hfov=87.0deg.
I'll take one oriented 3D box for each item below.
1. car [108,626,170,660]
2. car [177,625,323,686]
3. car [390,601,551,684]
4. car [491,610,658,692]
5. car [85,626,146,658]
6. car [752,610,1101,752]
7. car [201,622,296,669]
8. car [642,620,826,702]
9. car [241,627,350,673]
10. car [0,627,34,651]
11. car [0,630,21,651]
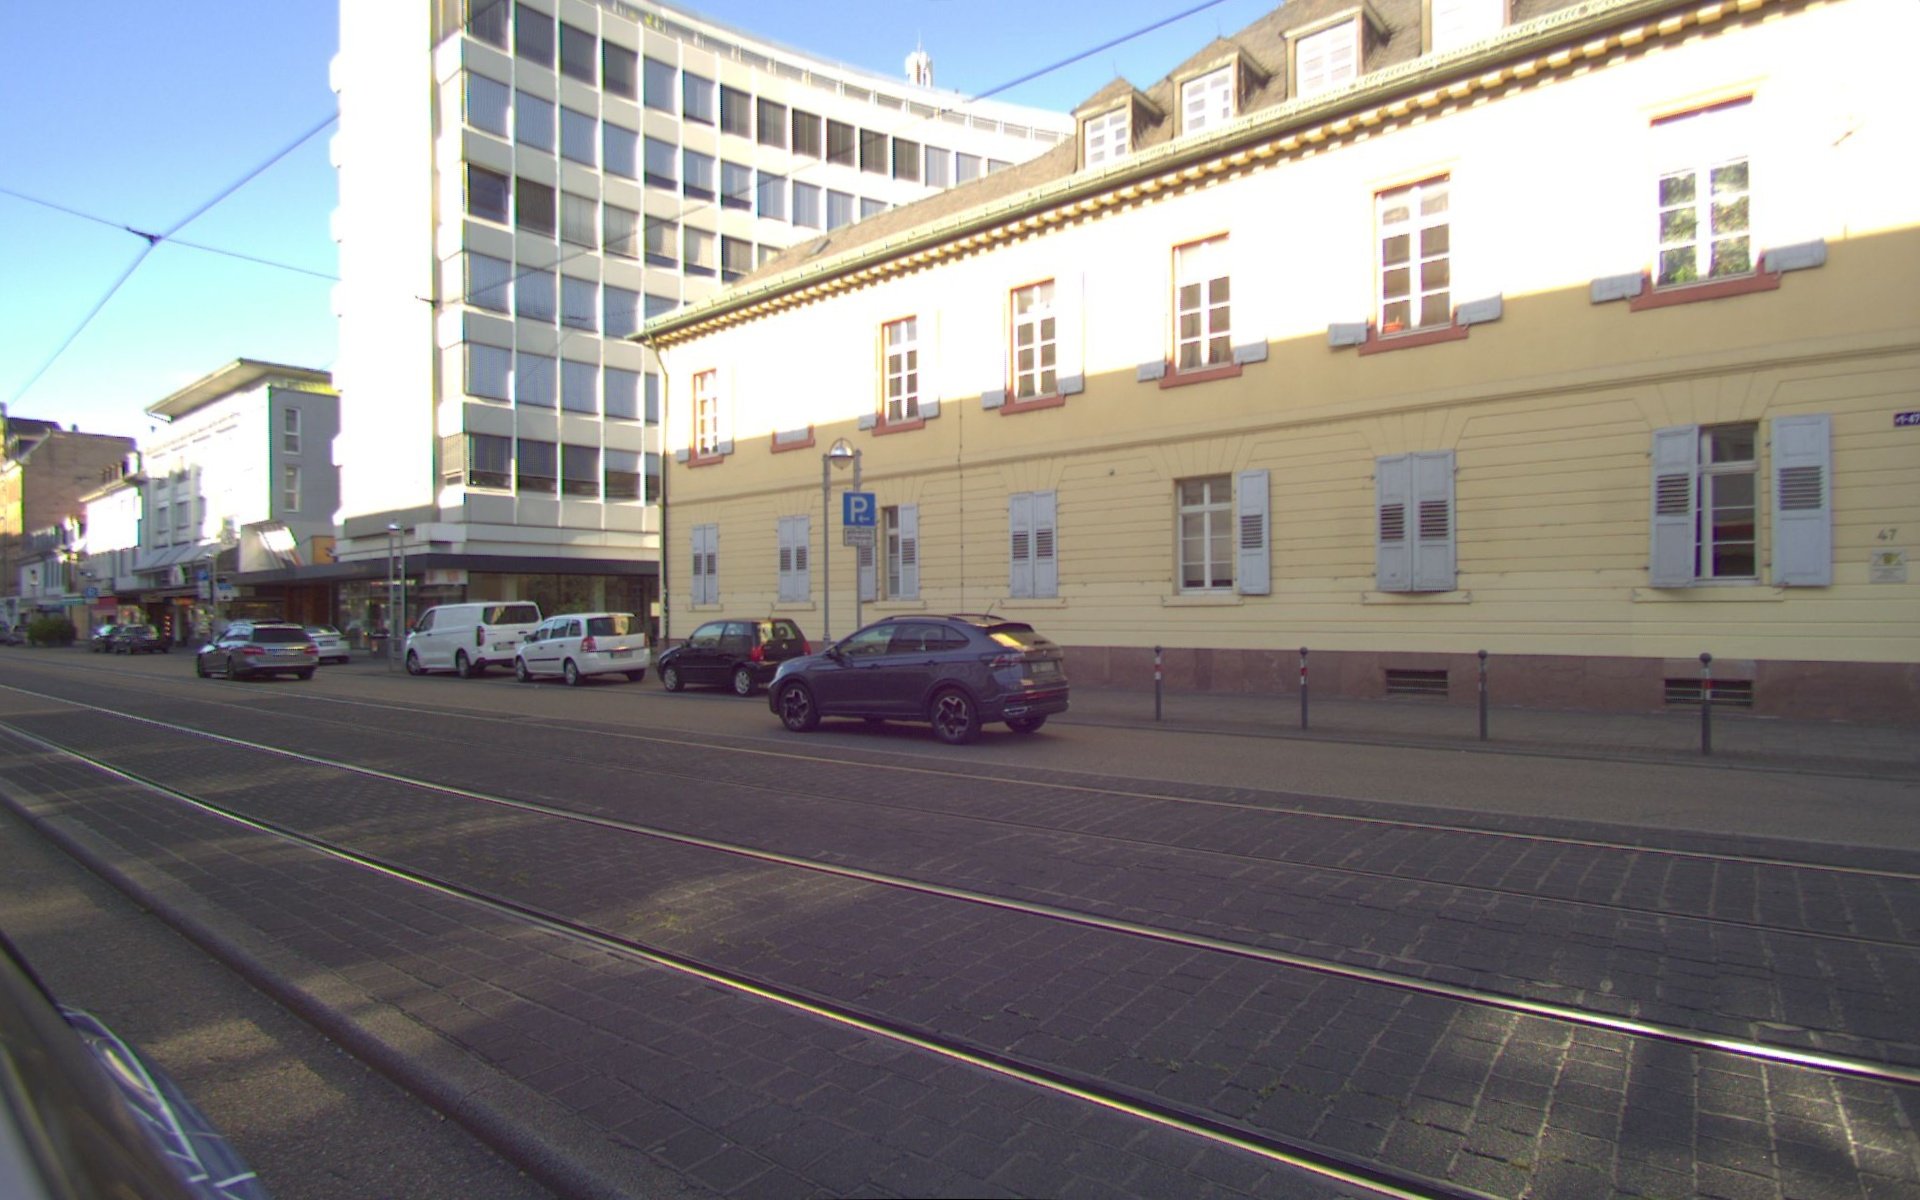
[{"bbox_3d":[-41.410,2.135,51.020,3.584,1.535,1.586,-1,1,37],"label":"car"},{"bbox_3d":[-19.203,1.450,27.305,4.923,1.507,1.862,-2,-3,38],"label":"car"},{"bbox_3d":[-13.470,1.104,27.703,5.091,1.990,1.974,-1,1,39],"label":"car"},{"bbox_3d":[-9.261,1.143,24.109,4.647,1.698,1.788,-1,1,42],"label":"car"},{"bbox_3d":[-45.926,2.254,54.986,4.848,1.535,1.720,-1,1,40],"label":"car"},{"bbox_3d":[-0.520,0.926,12.935,4.270,1.523,1.749,-1,-1,35],"label":"car"},{"bbox_3d":[-28.311,1.752,40.222,4.651,1.691,1.959,-1,1,40],"label":"car"},{"bbox_3d":[-4.528,1.140,20.048,3.716,1.411,1.598,-1,1,39],"label":"car"},{"bbox_3d":[-23.791,1.734,36.164,4.650,1.431,1.870,-1,1,39],"label":"car"},{"bbox_3d":[-68.358,2.820,73.188,2.888,1.616,1.680,-1,1,40],"label":"car"},{"bbox_3d":[-75.269,3.178,79.373,4.758,1.525,1.799,-1,0,40],"label":"car"}]
